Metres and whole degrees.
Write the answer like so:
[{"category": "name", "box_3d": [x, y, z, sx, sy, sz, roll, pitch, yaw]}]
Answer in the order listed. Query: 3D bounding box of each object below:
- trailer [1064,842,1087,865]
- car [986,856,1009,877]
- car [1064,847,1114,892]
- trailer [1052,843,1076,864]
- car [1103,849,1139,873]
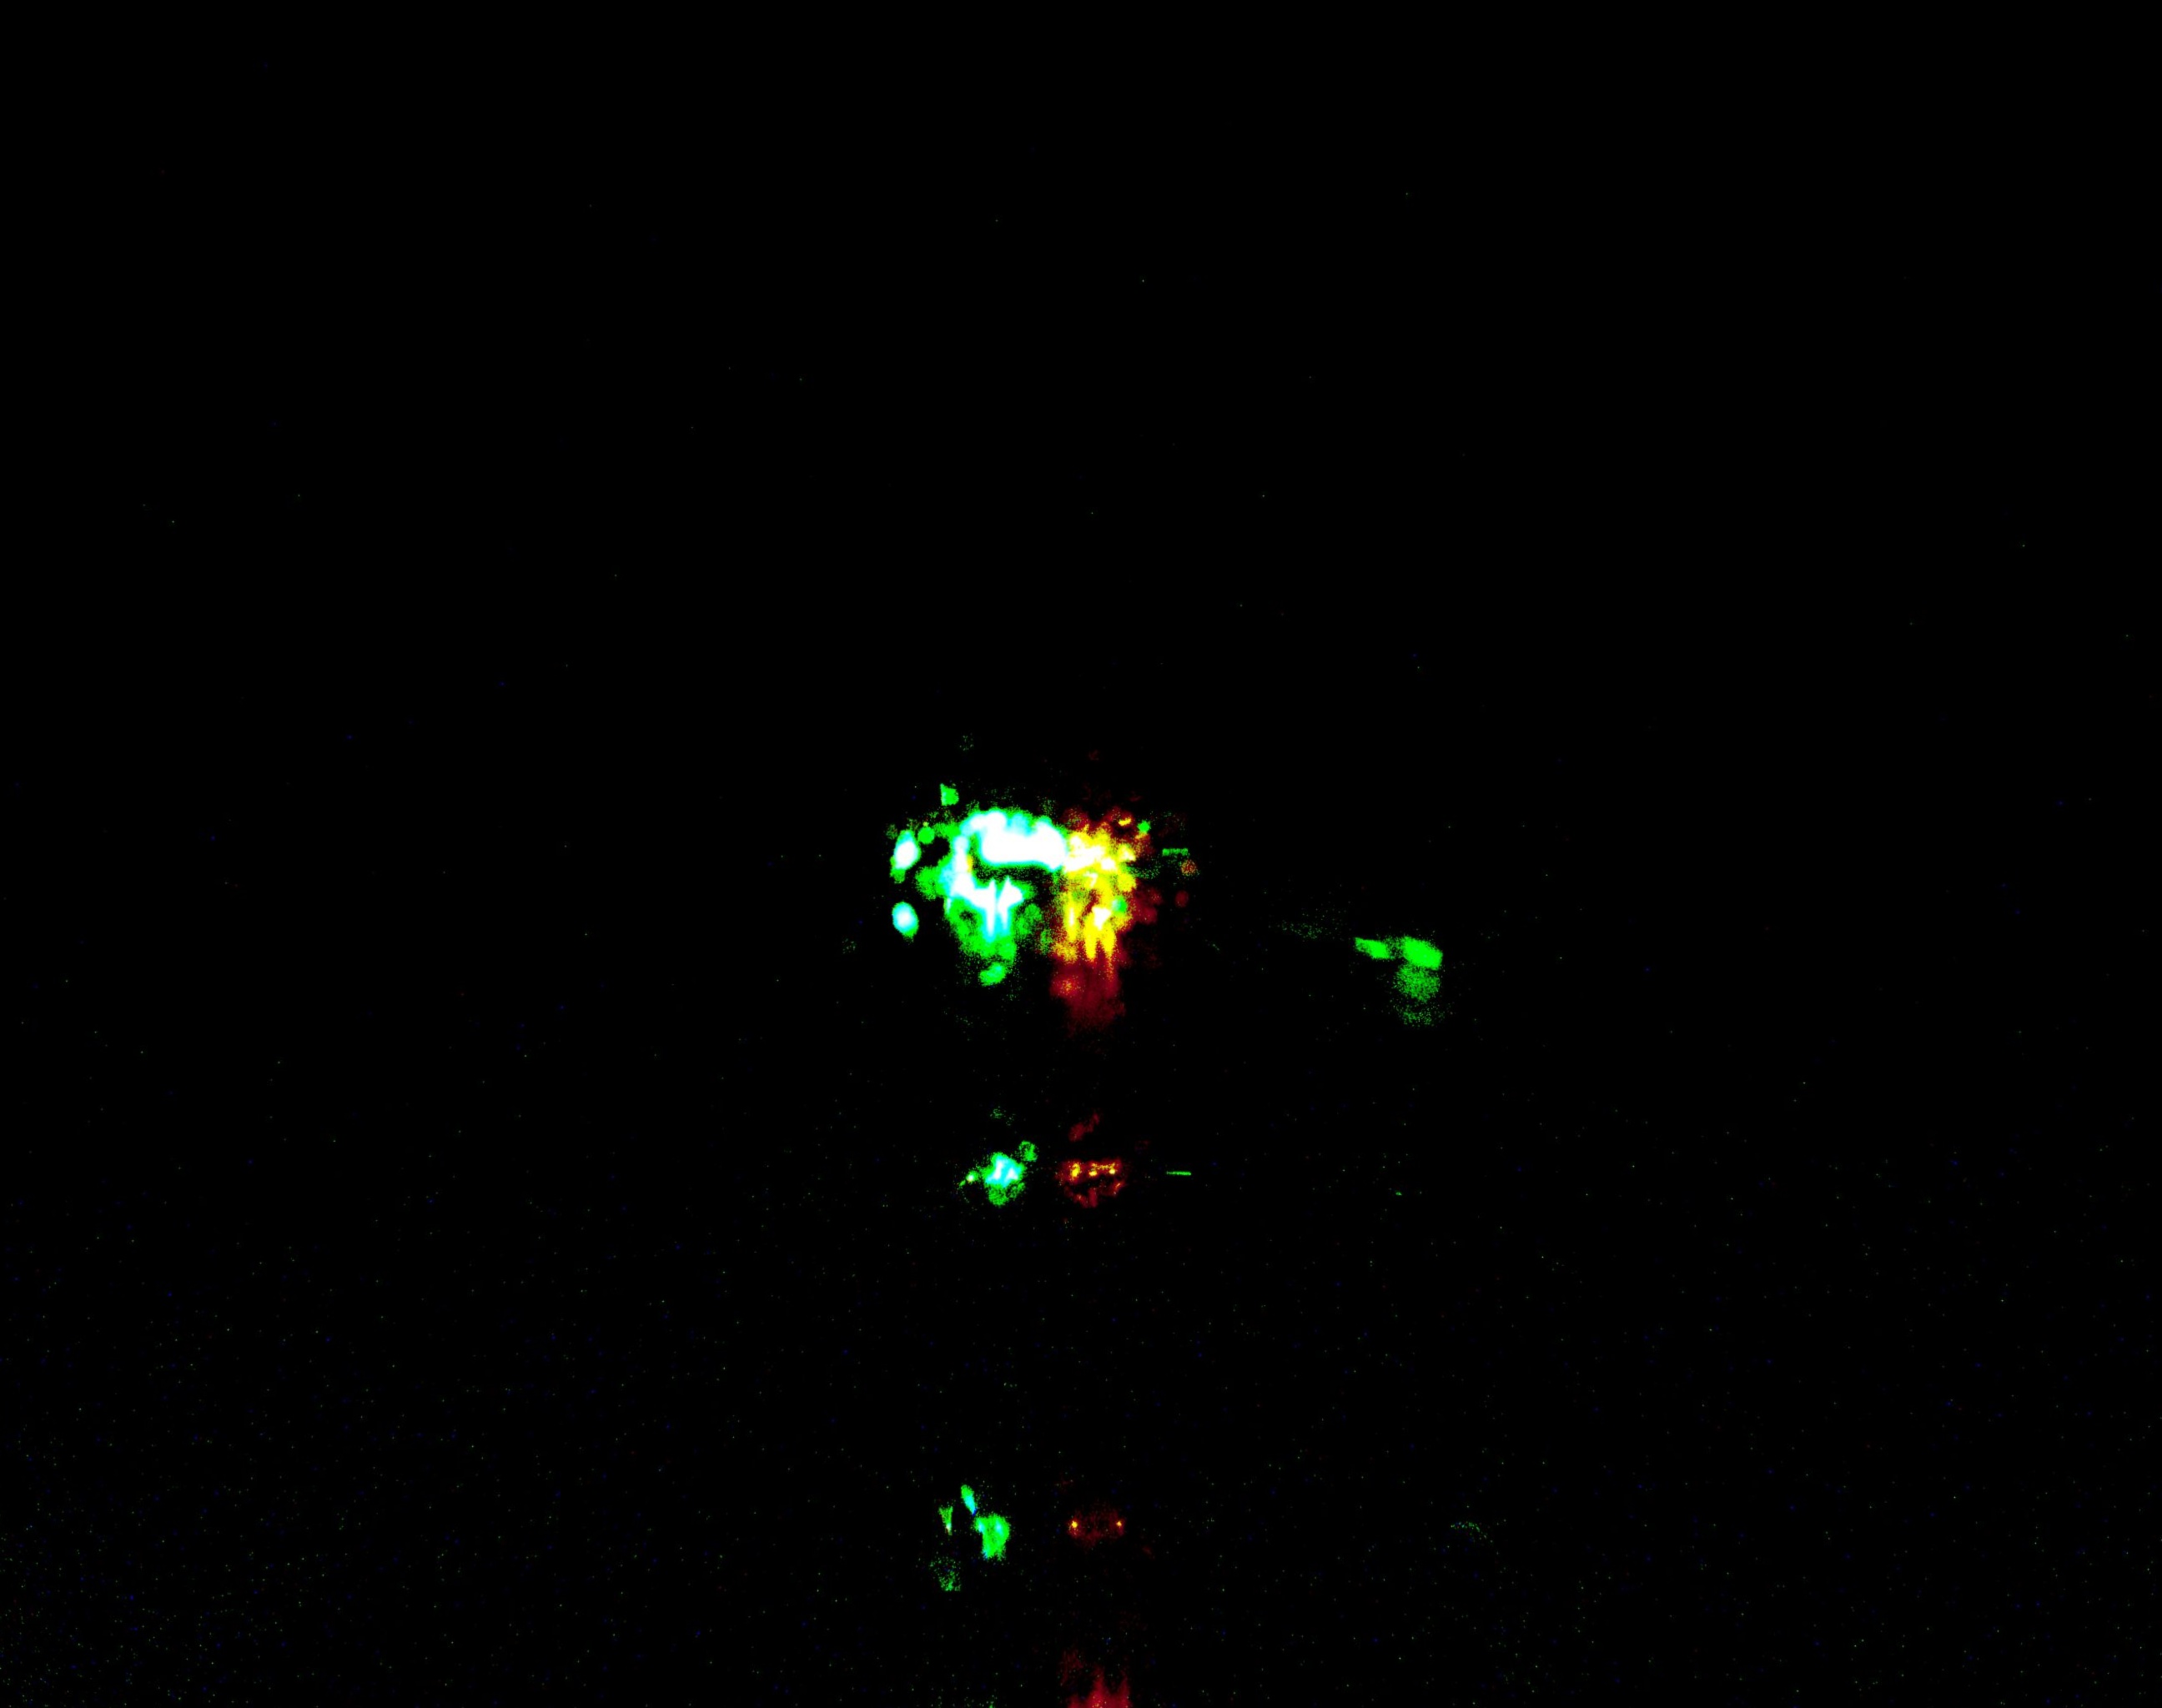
[{"category": "trailer", "box_3d": [-0.627, -0.050, 89.138, 1.608, 2.352, 4.410, 1, 0, -14]}, {"category": "car", "box_3d": [-7.636, 1.133, 74.114, 1.975, 1.778, 3.990, -1, 0, -7]}, {"category": "car", "box_3d": [0.295, 0.551, 31.528, 1.795, 1.628, 3.615, -1, 0, 0]}, {"category": "trailer", "box_3d": [-2.006, -0.035, 93.888, 1.633, 2.365, 4.629, 1, 0, -15]}, {"category": "car", "box_3d": [3.550, 0.599, 72.954, 1.883, 2.040, 4.365, -1, 0, -17]}]
